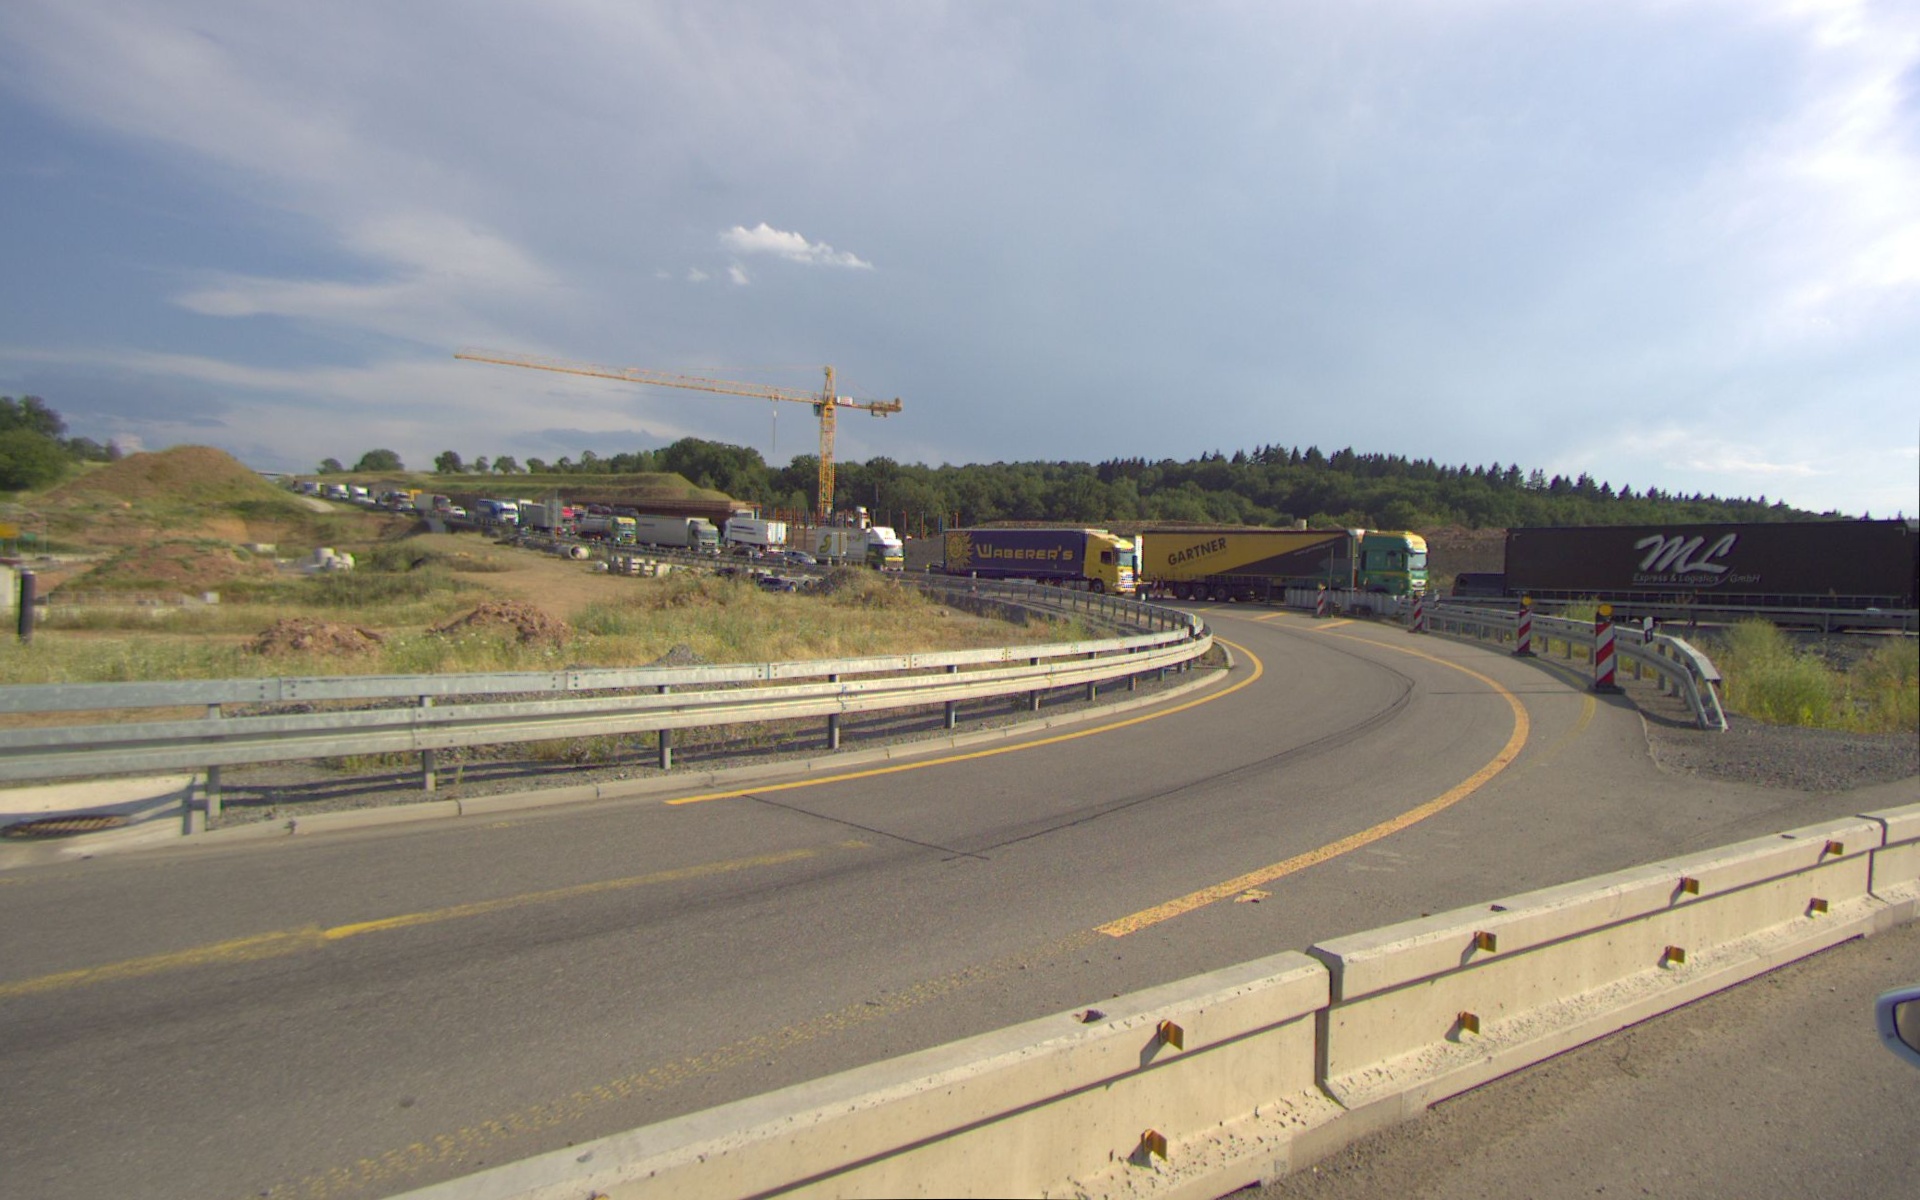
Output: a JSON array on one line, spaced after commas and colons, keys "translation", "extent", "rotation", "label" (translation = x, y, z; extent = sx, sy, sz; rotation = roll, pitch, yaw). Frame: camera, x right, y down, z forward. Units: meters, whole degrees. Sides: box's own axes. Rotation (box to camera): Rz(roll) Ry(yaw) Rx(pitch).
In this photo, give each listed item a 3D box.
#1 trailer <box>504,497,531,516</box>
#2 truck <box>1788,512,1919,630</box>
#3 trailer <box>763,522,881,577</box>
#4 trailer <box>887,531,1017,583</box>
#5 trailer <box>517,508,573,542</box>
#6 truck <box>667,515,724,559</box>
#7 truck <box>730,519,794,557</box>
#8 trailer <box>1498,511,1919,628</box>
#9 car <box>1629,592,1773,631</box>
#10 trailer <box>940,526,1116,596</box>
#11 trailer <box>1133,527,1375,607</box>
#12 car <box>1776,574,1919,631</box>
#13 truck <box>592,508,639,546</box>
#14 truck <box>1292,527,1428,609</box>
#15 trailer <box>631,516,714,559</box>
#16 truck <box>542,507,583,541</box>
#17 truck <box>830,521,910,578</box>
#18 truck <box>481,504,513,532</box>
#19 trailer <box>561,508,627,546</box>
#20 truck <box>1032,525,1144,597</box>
[{"translation": [-92.004, -19.377, 208.650], "extent": [1.957, 3.561, 11.040], "rotation": [2, 1, -41], "label": "trailer"}, {"translation": [34.041, -1.025, 36.303], "extent": [2.471, 4.115, 5.934], "rotation": [-1, 3, -43], "label": "truck"}, {"translation": [-12.459, -4.449, 88.780], "extent": [3.090, 4.372, 14.078], "rotation": [2, 1, -41], "label": "trailer"}, {"translation": [-0.964, -3.629, 84.592], "extent": [2.845, 4.050, 13.308], "rotation": [0, 2, -42], "label": "trailer"}, {"translation": [-60.411, -10.783, 145.926], "extent": [3.090, 4.372, 14.078], "rotation": [2, 1, -41], "label": "trailer"}, {"translation": [-28.255, -6.659, 107.156], "extent": [3.090, 4.372, 6.813], "rotation": [2, 1, -41], "label": "truck"}, {"translation": [-25.571, -7.852, 128.987], "extent": [3.534, 4.471, 13.057], "rotation": [2, 1, -32], "label": "truck"}, {"translation": [29.664, -1.329, 40.933], "extent": [2.471, 4.116, 13.455], "rotation": [-1, 3, -43], "label": "trailer"}, {"translation": [33.504, 0.466, 45.524], "extent": [2.019, 1.521, 4.919], "rotation": [-2, 3, -41], "label": "car"}, {"translation": [4.329, -2.716, 69.939], "extent": [3.090, 4.372, 14.078], "rotation": [2, 1, -41], "label": "trailer"}, {"translation": [16.016, -1.938, 56.516], "extent": [2.469, 4.012, 13.804], "rotation": [0, 3, -41], "label": "trailer"}, {"translation": [34.757, 0.063, 39.189], "extent": [1.515, 2.040, 4.276], "rotation": [2, 1, -42], "label": "car"}, {"translation": [-42.497, -8.953, 123.804], "extent": [3.090, 4.372, 6.813], "rotation": [2, 1, -41], "label": "truck"}, {"translation": [20.407, -1.675, 51.465], "extent": [2.469, 3.954, 5.937], "rotation": [0, 3, -41], "label": "truck"}, {"translation": [-32.093, -6.821, 111.614], "extent": [3.090, 4.372, 14.078], "rotation": [2, 1, -41], "label": "trailer"}, {"translation": [-55.483, -10.480, 140.200], "extent": [3.090, 4.372, 6.813], "rotation": [2, 1, -41], "label": "truck"}, {"translation": [-7.549, -4.156, 83.105], "extent": [3.090, 4.372, 6.813], "rotation": [2, 1, -41], "label": "truck"}, {"translation": [-74.156, -13.042, 160.862], "extent": [2.503, 4.054, 8.453], "rotation": [2, 1, -40], "label": "truck"}, {"translation": [-47.191, -9.227, 129.249], "extent": [3.090, 4.372, 14.078], "rotation": [2, 1, -41], "label": "trailer"}, {"translation": [8.261, -2.503, 65.410], "extent": [3.090, 4.372, 6.813], "rotation": [2, 1, -41], "label": "truck"}]
